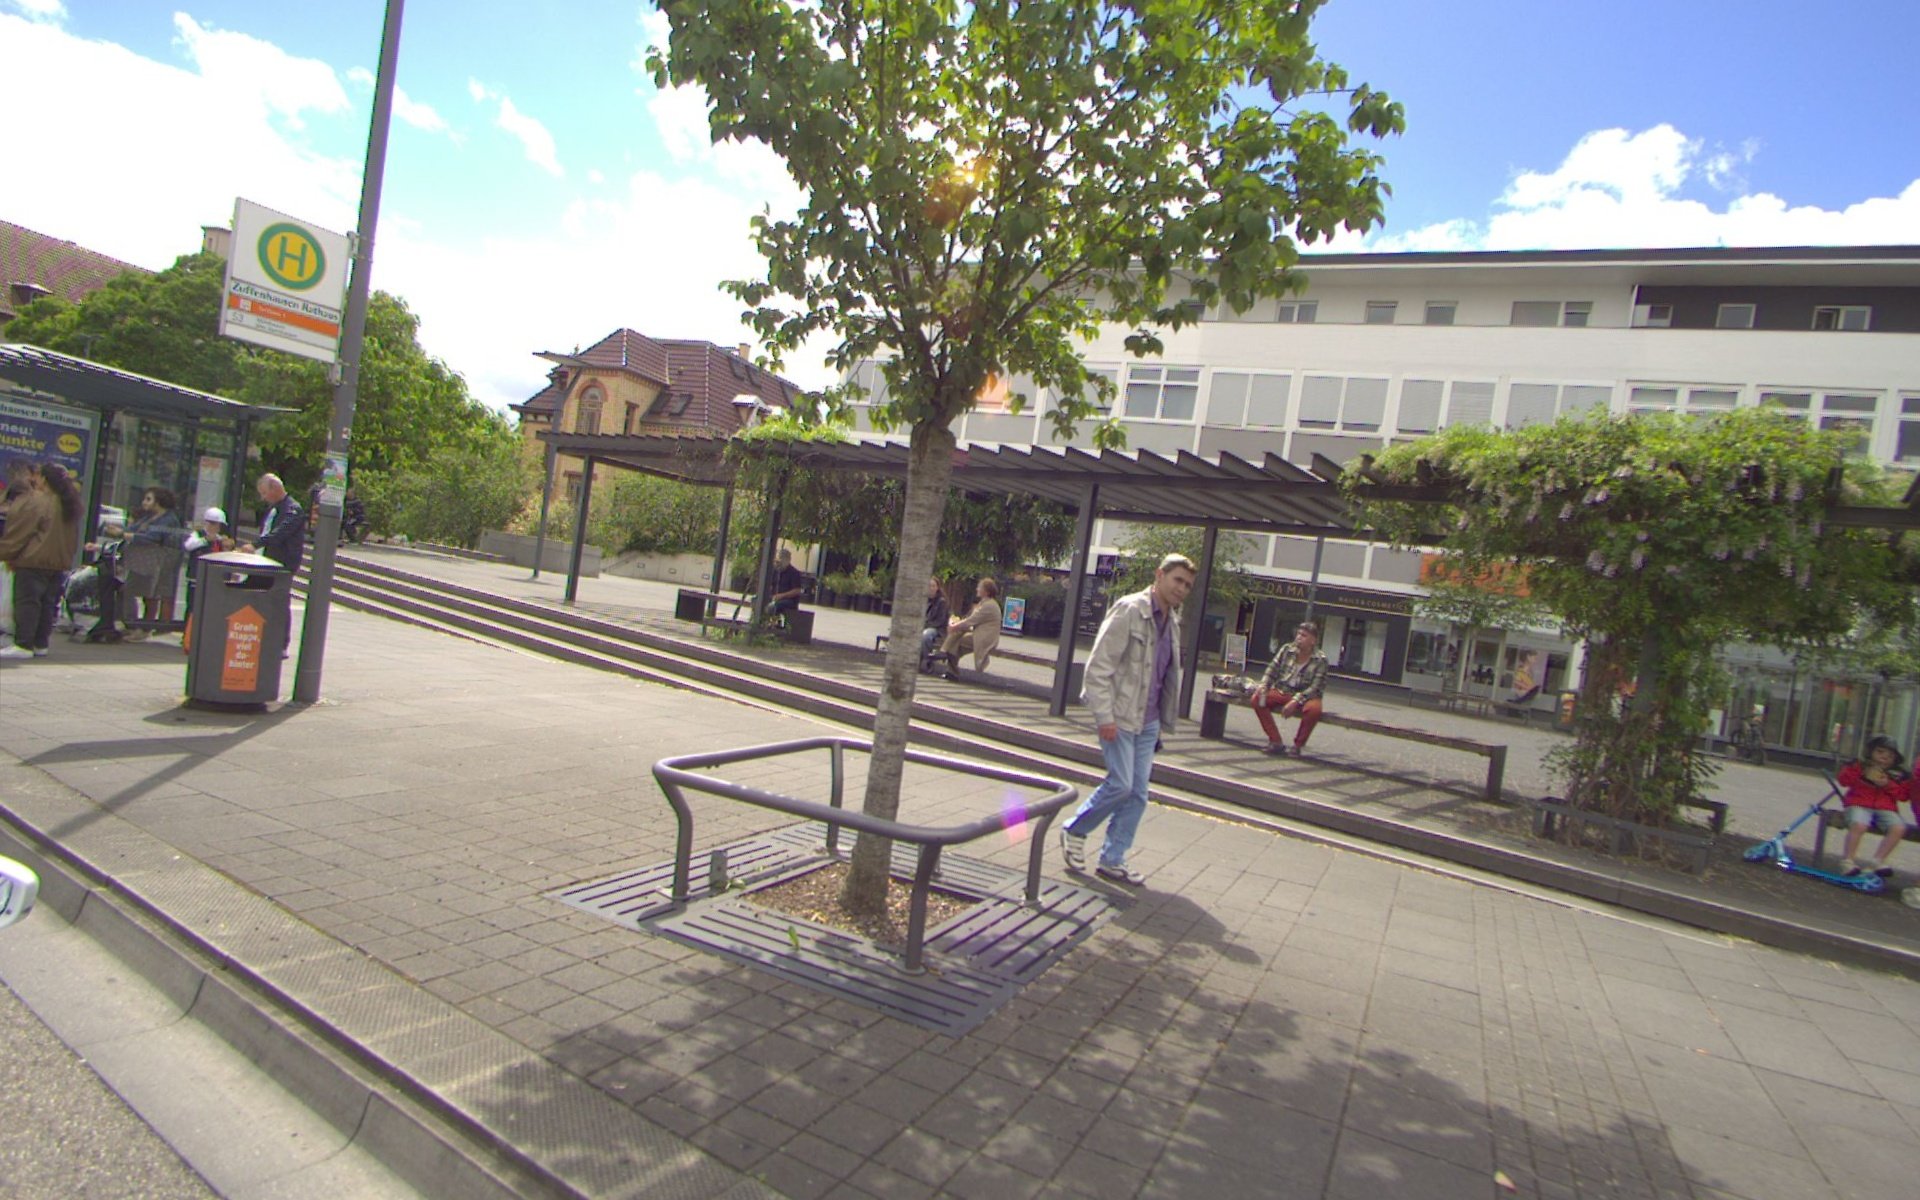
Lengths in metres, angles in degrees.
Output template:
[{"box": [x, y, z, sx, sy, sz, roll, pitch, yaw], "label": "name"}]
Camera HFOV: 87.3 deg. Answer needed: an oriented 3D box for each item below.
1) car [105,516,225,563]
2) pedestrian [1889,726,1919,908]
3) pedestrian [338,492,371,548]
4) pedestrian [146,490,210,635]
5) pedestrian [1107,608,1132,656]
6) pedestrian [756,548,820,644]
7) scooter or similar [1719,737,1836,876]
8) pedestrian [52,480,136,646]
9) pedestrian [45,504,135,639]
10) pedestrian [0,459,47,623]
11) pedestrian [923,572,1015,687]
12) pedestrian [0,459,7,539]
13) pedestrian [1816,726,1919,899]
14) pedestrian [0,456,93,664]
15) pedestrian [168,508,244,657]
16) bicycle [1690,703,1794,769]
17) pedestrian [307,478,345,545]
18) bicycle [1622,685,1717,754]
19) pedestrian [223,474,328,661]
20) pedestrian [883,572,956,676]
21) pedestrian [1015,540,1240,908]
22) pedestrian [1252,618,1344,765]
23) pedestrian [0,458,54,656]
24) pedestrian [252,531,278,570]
[{"box": [-37.501, -2.850, 47.512, 4.240, 1.596, 1.827, 7, 0, -43], "label": "car"}, {"box": [6.687, 1.432, 6.673, 0.533, 1.278, 0.568, 10, 3, 36], "label": "pedestrian"}, {"box": [-15.021, -1.977, 24.947, 0.631, 1.301, 0.363, 8, 1, 37], "label": "pedestrian"}, {"box": [-8.219, -0.385, 10.580, 0.314, 1.477, 0.274, 7, 1, -3], "label": "pedestrian"}, {"box": [4.698, 0.950, 29.662, 0.535, 1.339, 0.570, 8, 0, 6], "label": "pedestrian"}, {"box": [-2.557, -0.057, 14.957, 0.538, 1.339, 0.567, 8, 0, 41], "label": "pedestrian"}, {"box": [6.092, 1.533, 7.511, 0.246, 0.905, 0.503, 7, 2, -27], "label": "scooter or similar"}, {"box": [-7.919, -0.333, 9.201, 0.408, 1.461, 0.378, 7, 3, 26], "label": "pedestrian"}, {"box": [-8.384, -0.273, 9.693, 0.622, 1.227, 0.378, 7, 2, 26], "label": "pedestrian"}, {"box": [-9.488, -0.589, 10.011, 0.389, 1.586, 0.350, 6, 1, -21], "label": "pedestrian"}, {"box": [0.116, 0.369, 12.295, 0.757, 1.284, 0.676, 8, 0, 28], "label": "pedestrian"}, {"box": [-9.445, -0.578, 9.515, 0.494, 1.586, 0.496, 6, 2, -40], "label": "pedestrian"}, {"box": [6.396, 1.471, 7.090, 0.362, 1.103, 0.476, 10, 3, 36], "label": "pedestrian"}, {"box": [-7.362, -0.312, 8.013, 0.509, 1.569, 0.483, 6, 1, -32], "label": "pedestrian"}, {"box": [-6.908, -0.153, 9.220, 0.349, 1.323, 0.389, 8, 3, 33], "label": "pedestrian"}, {"box": [18.449, 3.183, 23.801, 0.675, 1.157, 2.024, 7, 2, -1], "label": "bicycle"}, {"box": [-15.260, -2.130, 24.206, 0.447, 1.527, 0.502, 8, 1, 37], "label": "pedestrian"}, {"box": [17.251, 2.871, 24.514, 0.675, 1.324, 2.025, 7, 2, -1], "label": "bicycle"}, {"box": [-6.529, -0.300, 9.596, 0.567, 1.702, 0.512, 7, 1, 32], "label": "pedestrian"}, {"box": [-0.527, 0.313, 13.036, 0.558, 1.242, 0.567, 8, 0, 41], "label": "pedestrian"}, {"box": [0.867, 0.598, 5.198, 0.704, 1.703, 0.683, 7, 1, 42], "label": "pedestrian"}, {"box": [3.303, 0.883, 9.830, 0.537, 1.324, 0.624, 8, 2, 36], "label": "pedestrian"}, {"box": [-7.896, -0.373, 8.161, 0.535, 1.569, 0.485, 6, 1, -14], "label": "pedestrian"}, {"box": [-29.810, -2.132, 43.135, 0.775, 1.533, 0.550, 10, 3, 34], "label": "pedestrian"}]
